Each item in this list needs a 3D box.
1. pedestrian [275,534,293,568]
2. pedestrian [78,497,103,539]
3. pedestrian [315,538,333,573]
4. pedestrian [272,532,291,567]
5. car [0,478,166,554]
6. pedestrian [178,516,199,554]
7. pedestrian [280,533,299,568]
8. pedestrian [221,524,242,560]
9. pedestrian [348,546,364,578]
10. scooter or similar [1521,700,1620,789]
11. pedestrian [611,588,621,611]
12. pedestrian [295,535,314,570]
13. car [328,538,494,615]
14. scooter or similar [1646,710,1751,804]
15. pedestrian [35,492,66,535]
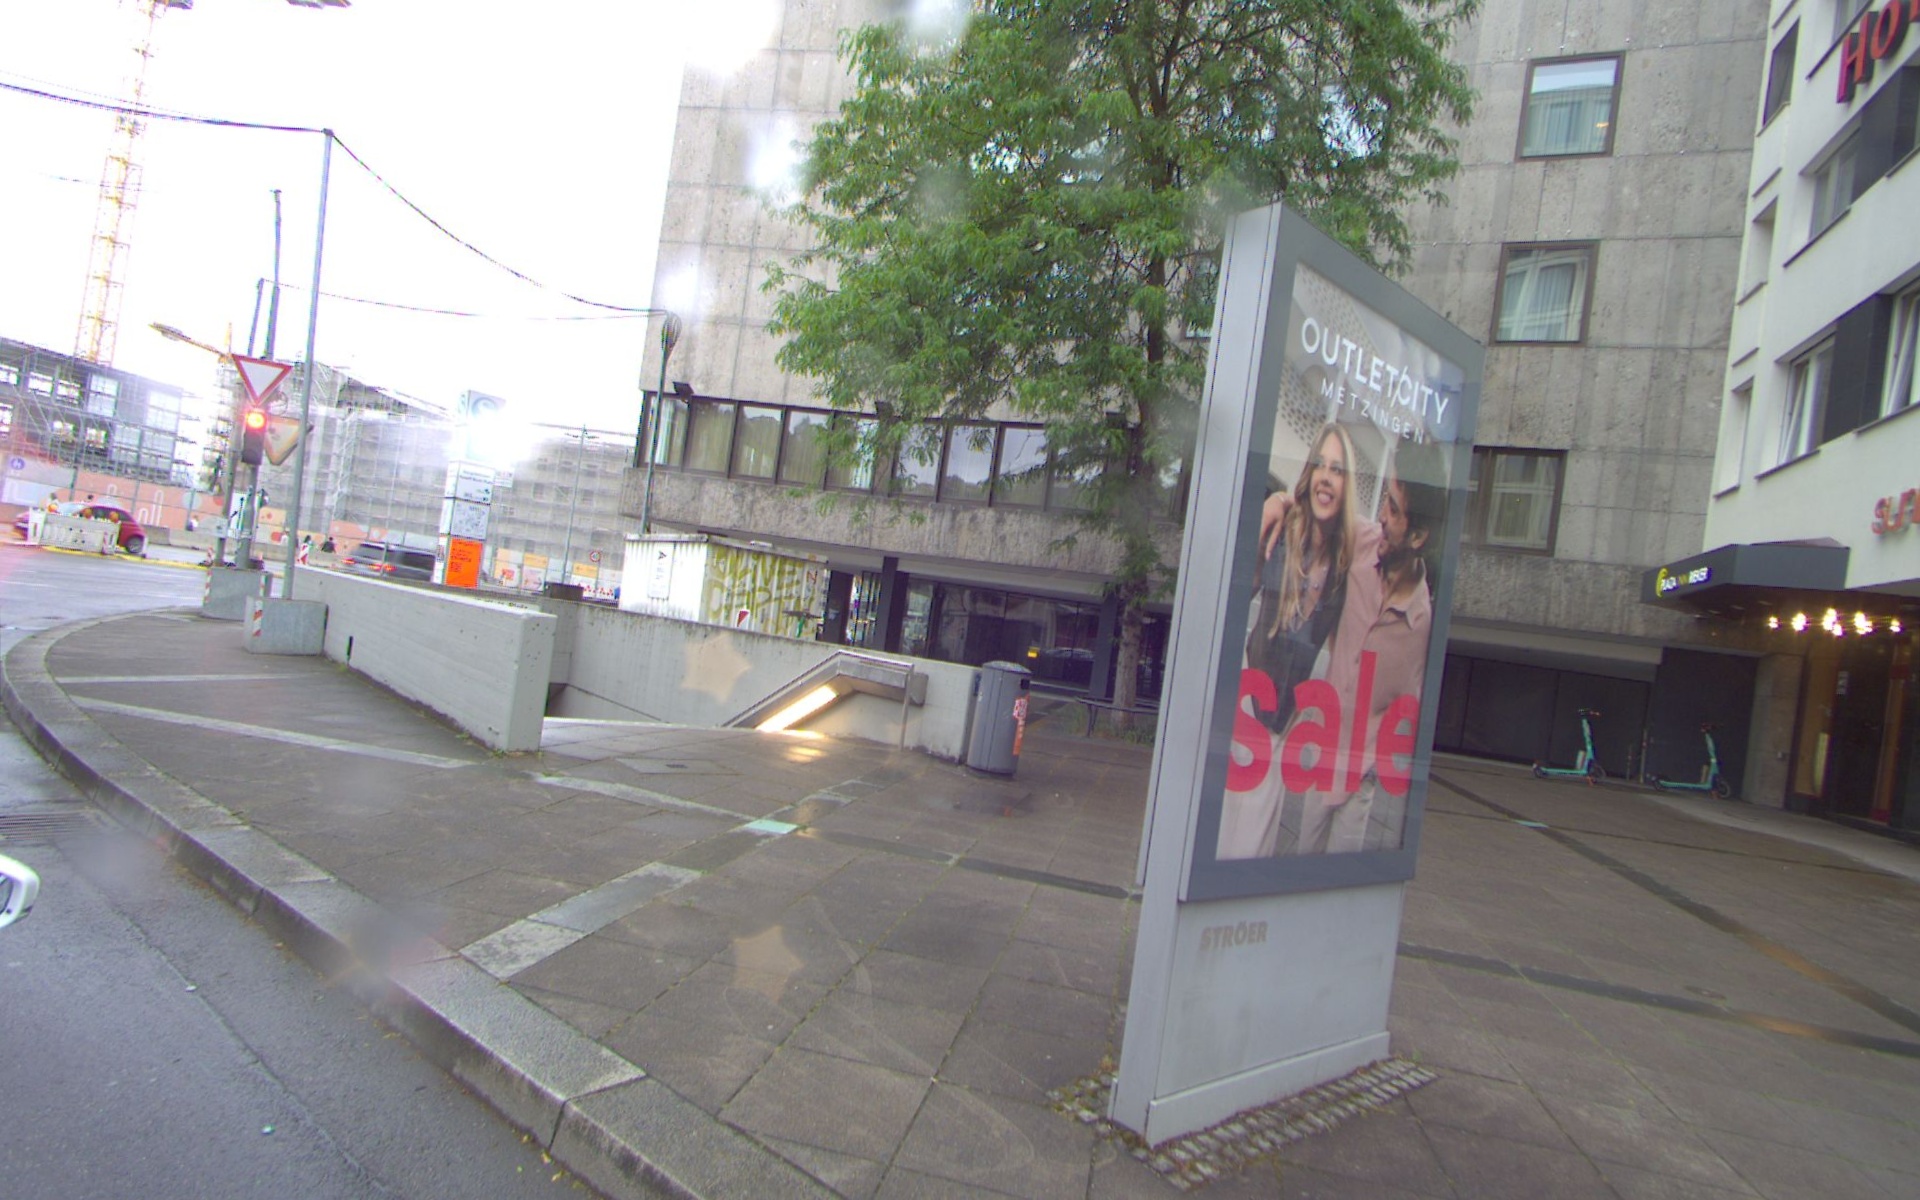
[{"bbox_3d":[-39.958,-2.915,59.452,0.355,1.919,0.577,7,-2,16],"label":"pedestrian"},{"bbox_3d":[-41.704,-3.940,48.243,0.355,1.919,0.577,7,-2,21],"label":"pedestrian"},{"bbox_3d":[-36.788,-2.567,58.194,0.355,1.919,0.577,7,-2,21],"label":"pedestrian"},{"bbox_3d":[-39.227,-2.904,58.173,0.355,1.919,0.577,7,-2,21],"label":"pedestrian"},{"bbox_3d":[-29.885,-2.805,34.225,1.962,1.727,4.008,7,-3,14],"label":"car"},{"bbox_3d":[-40.880,-3.420,53.294,0.355,1.919,0.577,7,-2,21],"label":"pedestrian"},{"bbox_3d":[-38.526,-2.829,57.821,0.355,1.919,0.577,7,-2,21],"label":"pedestrian"},{"bbox_3d":[-40.308,-3.197,55.667,0.355,1.919,0.577,7,-2,21],"label":"pedestrian"},{"bbox_3d":[-38.729,-2.438,64.498,0.355,1.919,0.577,7,-2,16],"label":"pedestrian"},{"bbox_3d":[10.255,2.415,16.940,1.208,1.269,0.565,7,0,19],"label":"scooter or similar"},{"bbox_3d":[-29.987,-0.014,87.690,0.355,1.919,0.577,7,-2,21],"label":"pedestrian"},{"bbox_3d":[-37.608,-2.707,57.729,0.355,1.919,0.577,7,-2,21],"label":"pedestrian"},{"bbox_3d":[-18.298,-0.703,33.885,1.962,1.817,5.113,7,-3,10],"label":"car"},{"bbox_3d":[12.365,2.611,16.880,1.208,1.352,0.520,7,-2,19],"label":"scooter or similar"},{"bbox_3d":[-43.996,-4.180,48.679,0.620,1.922,0.659,7,-2,18],"label":"pedestrian"}]
